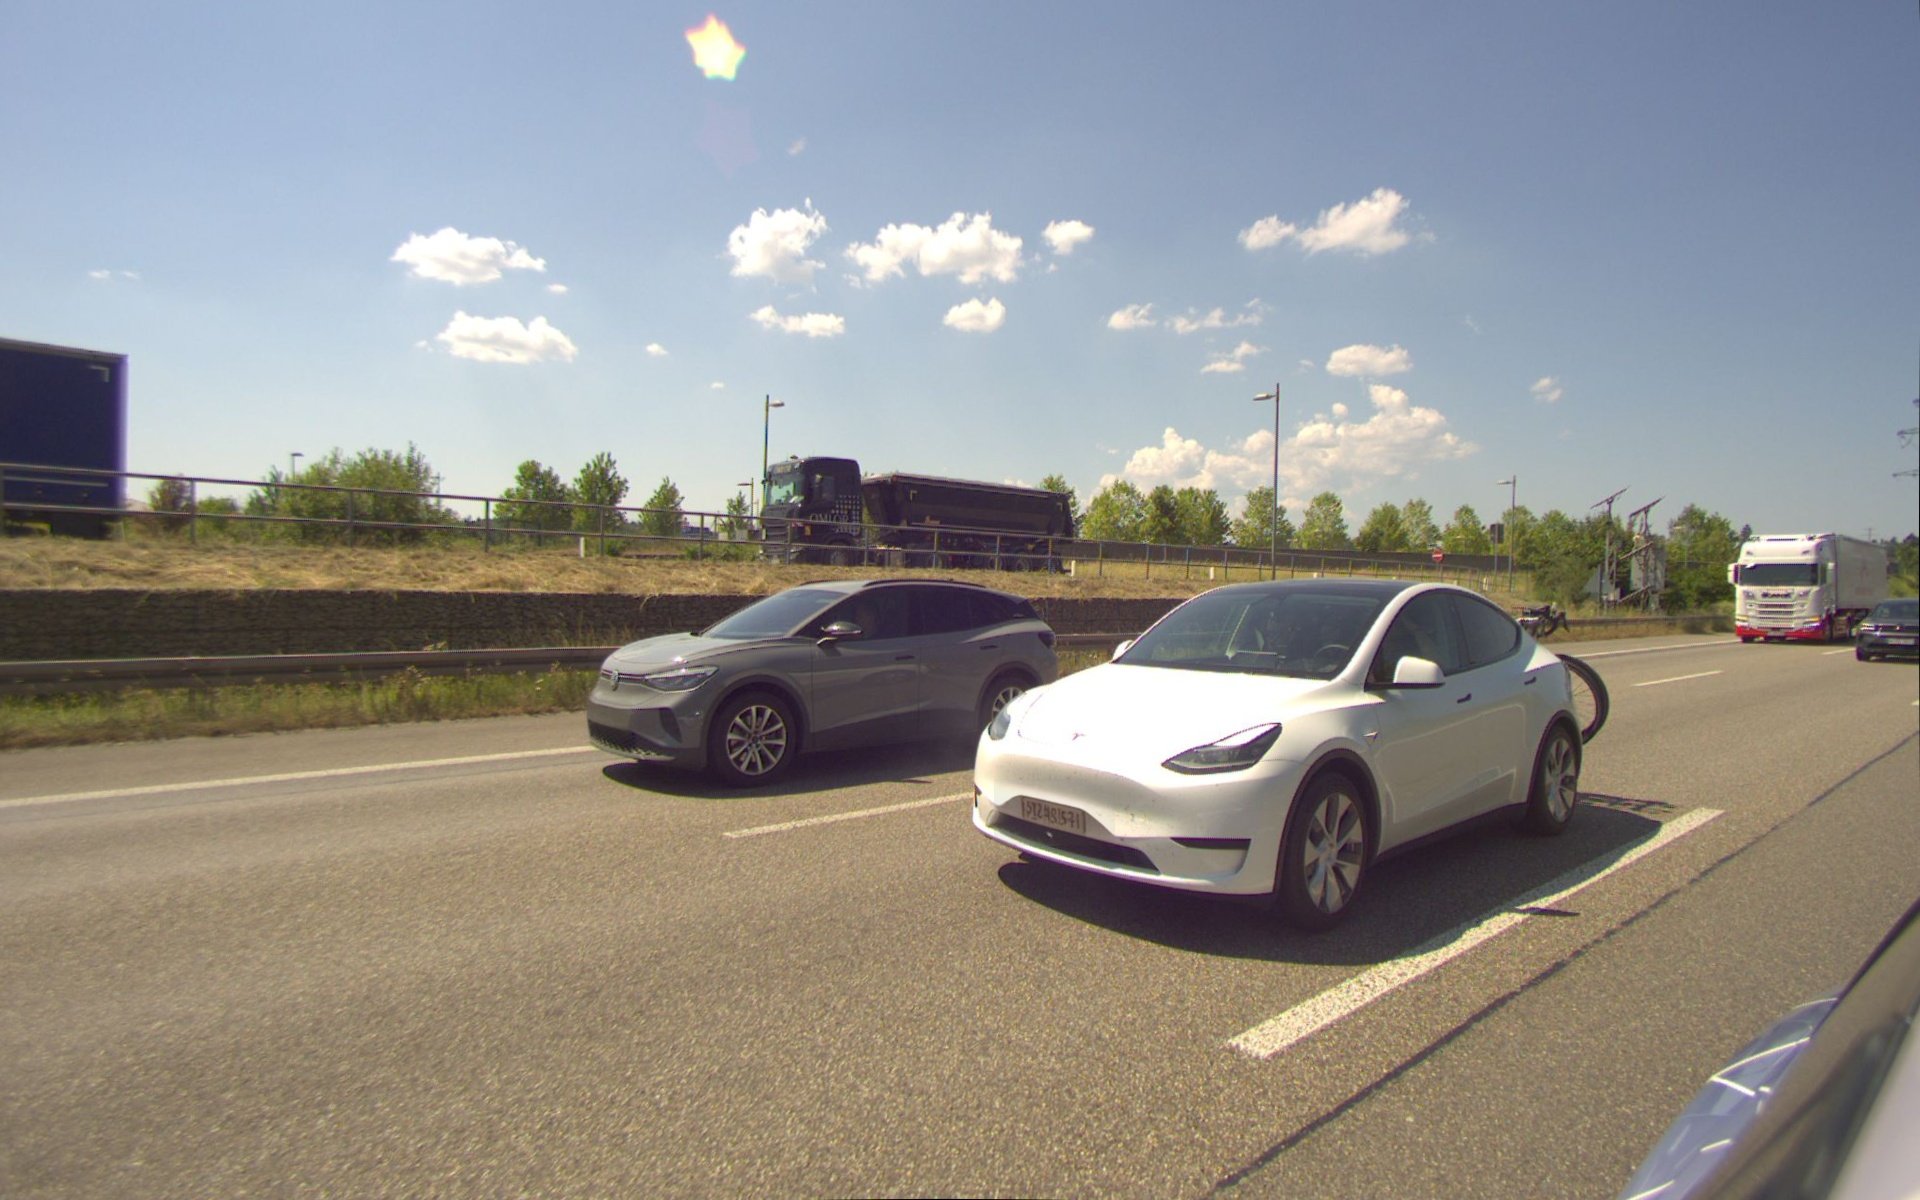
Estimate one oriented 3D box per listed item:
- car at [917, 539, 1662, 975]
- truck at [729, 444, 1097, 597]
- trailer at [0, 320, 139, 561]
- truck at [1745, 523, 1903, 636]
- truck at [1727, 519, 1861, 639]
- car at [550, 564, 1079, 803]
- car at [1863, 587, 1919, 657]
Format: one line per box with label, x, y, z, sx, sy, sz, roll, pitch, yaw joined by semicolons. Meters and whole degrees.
car;2.479;0.568;6.410;5.503;1.657;1.954;-1;0;-41
truck;-1.049;-2.227;32.911;12.302;4.134;3.794;-1;0;-41
trailer;-21.781;-2.818;15.686;14.008;4.134;3.058;-1;0;-41
truck;34.731;-0.762;40.411;12.287;3.957;3.073;-1;0;-41
truck;29.520;-0.708;35.817;3.780;3.957;3.074;0;0;-41
car;-1.130;0.553;9.231;4.506;1.657;1.871;-1;1;-41
car;24.494;0.504;25.530;3.974;1.667;1.955;-1;0;-39
